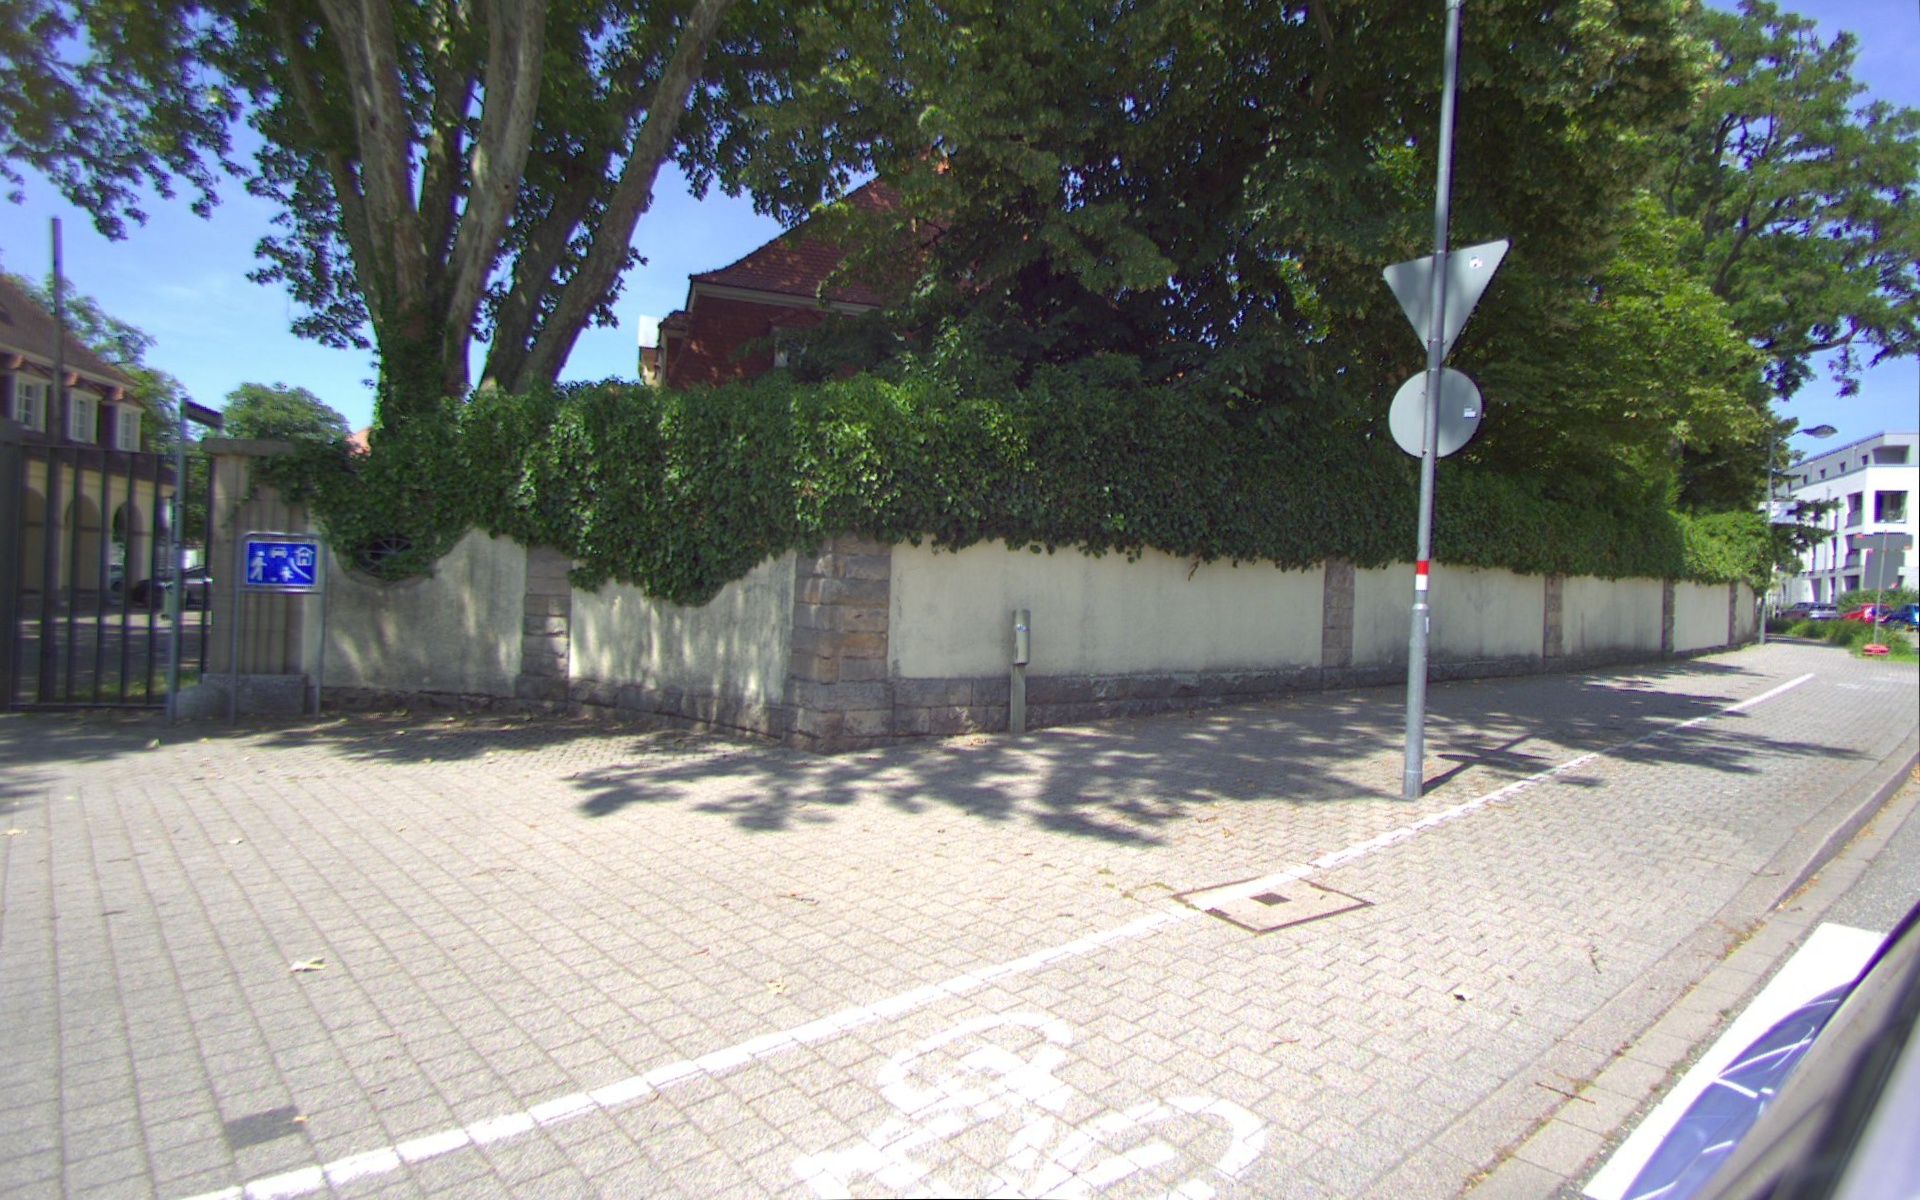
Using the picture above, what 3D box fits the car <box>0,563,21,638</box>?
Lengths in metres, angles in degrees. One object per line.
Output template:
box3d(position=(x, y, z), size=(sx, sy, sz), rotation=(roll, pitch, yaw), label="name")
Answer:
box3d(position=(-20.518, -0.179, 18.509), size=(4.408, 1.420, 2.004), rotation=(6, -1, -14), label="car")

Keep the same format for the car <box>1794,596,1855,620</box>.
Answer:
box3d(position=(54.893, 0.485, 64.320), size=(1.686, 1.431, 3.698), rotation=(1, 1, 19), label="car")

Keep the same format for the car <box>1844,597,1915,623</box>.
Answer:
box3d(position=(52.860, 0.550, 58.275), size=(1.686, 1.431, 3.698), rotation=(1, 1, 19), label="car")

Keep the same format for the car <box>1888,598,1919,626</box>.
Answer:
box3d(position=(50.912, 0.630, 53.284), size=(1.686, 1.431, 3.698), rotation=(1, 1, 19), label="car")

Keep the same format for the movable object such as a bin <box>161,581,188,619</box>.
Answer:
box3d(position=(-21.359, -0.003, 27.514), size=(0.526, 1.021, 0.529), rotation=(1, 1, 45), label="movable object such as a bin")

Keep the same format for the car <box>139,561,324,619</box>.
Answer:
box3d(position=(-23.798, -0.310, 33.245), size=(4.408, 1.420, 2.004), rotation=(6, -1, -14), label="car")
